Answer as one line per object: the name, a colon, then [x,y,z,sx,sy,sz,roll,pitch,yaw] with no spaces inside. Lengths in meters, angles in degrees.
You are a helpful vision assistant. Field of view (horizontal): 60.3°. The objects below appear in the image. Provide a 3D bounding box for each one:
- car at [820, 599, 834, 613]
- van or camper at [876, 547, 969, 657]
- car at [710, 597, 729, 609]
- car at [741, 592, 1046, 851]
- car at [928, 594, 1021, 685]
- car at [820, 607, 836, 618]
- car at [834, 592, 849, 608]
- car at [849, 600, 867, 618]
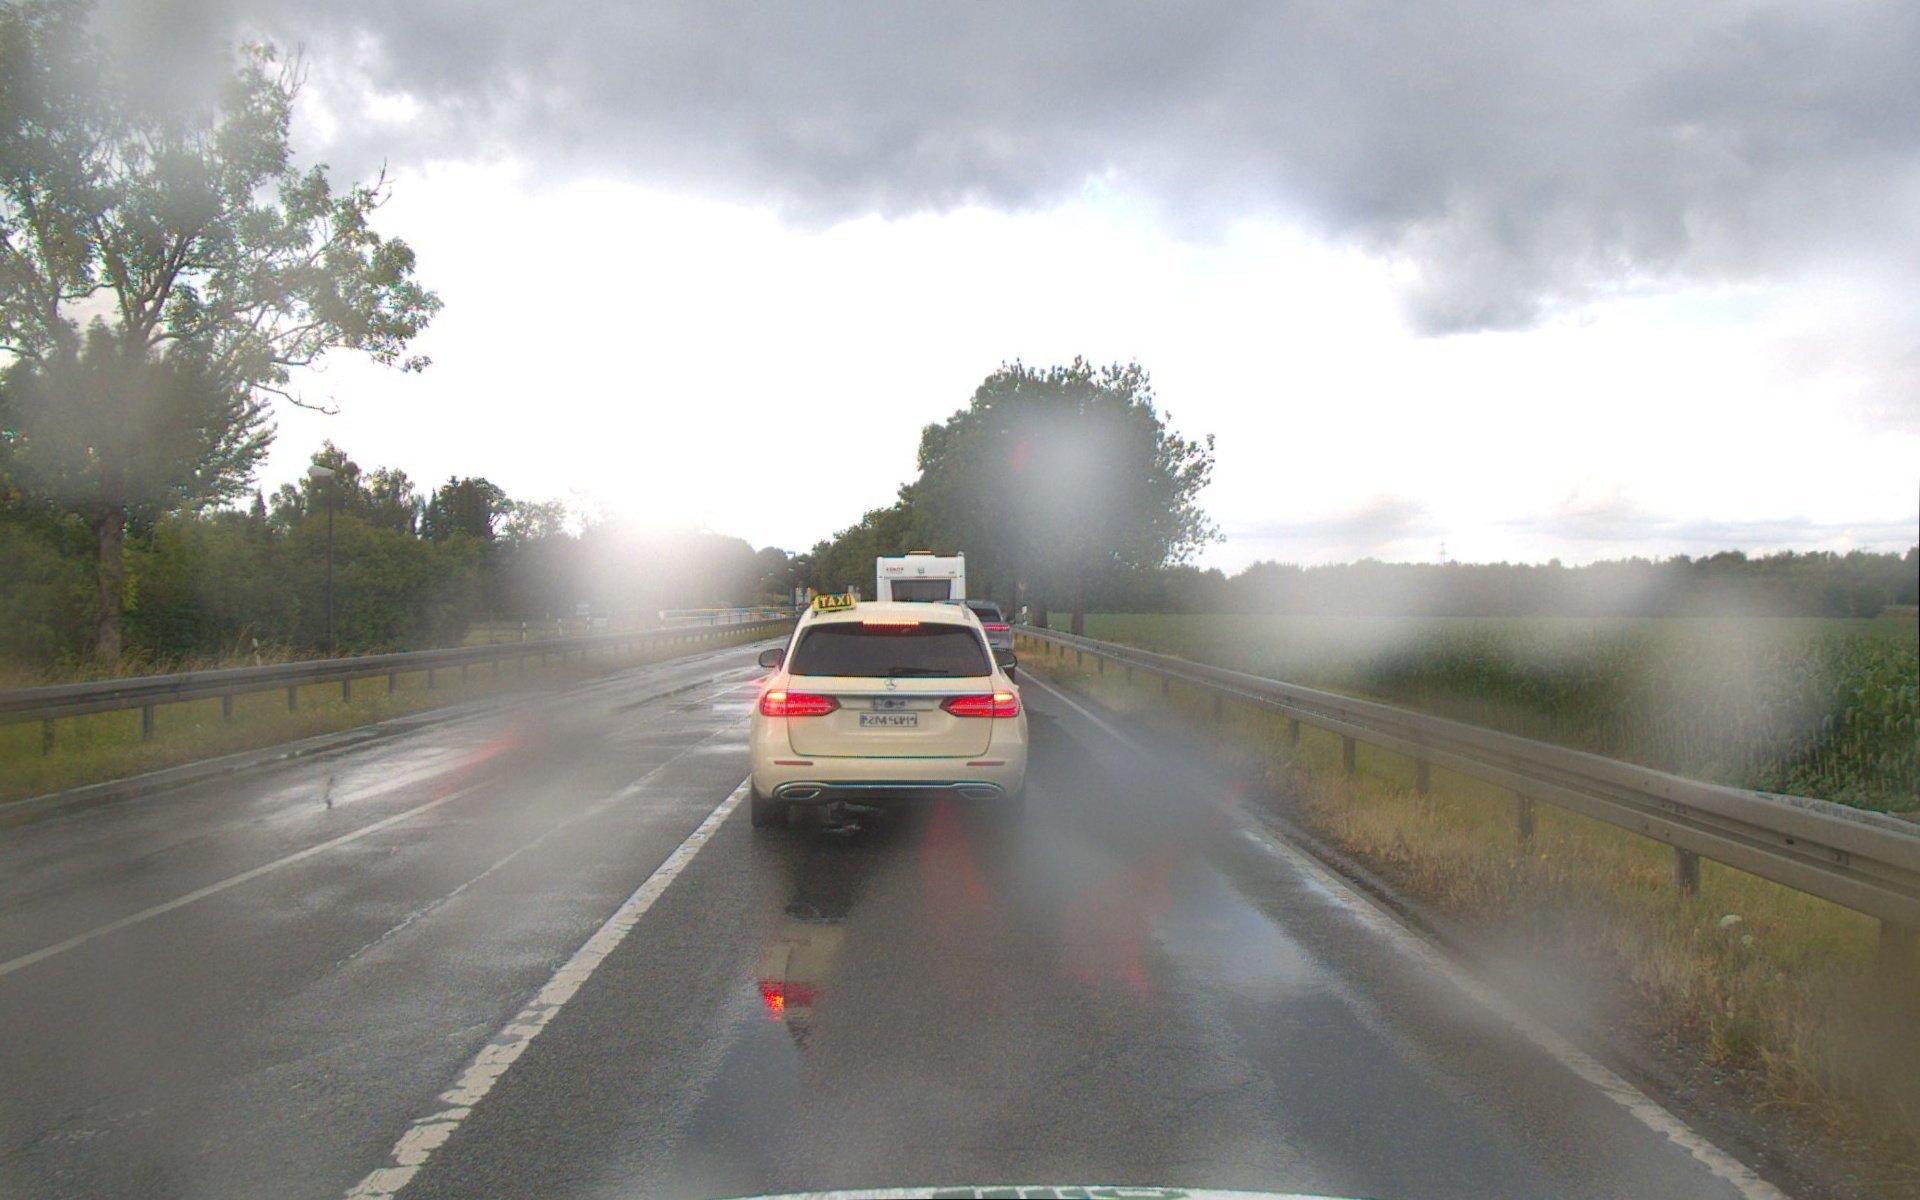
car: [-19.920,0.844,246.891,1.955,2.049,3.995,0,0,-6]
van or camper: [-0.979,0.027,43.946,2.303,2.727,5.767,0,0,-1]
car: [-33.942,0.399,233.416,1.952,1.680,4.000,0,0,0]
car: [-0.382,0.723,11.847,1.787,1.511,4.145,1,0,0]
car: [0.220,0.674,30.529,1.594,1.556,3.932,0,0,-1]
car: [-15.758,1.460,197.706,1.723,1.291,3.999,0,0,-1]
car: [-15.142,0.013,211.493,1.954,2.049,3.997,0,0,-3]
car: [-12.287,1.087,198.945,1.953,2.087,4.000,0,0,0]
